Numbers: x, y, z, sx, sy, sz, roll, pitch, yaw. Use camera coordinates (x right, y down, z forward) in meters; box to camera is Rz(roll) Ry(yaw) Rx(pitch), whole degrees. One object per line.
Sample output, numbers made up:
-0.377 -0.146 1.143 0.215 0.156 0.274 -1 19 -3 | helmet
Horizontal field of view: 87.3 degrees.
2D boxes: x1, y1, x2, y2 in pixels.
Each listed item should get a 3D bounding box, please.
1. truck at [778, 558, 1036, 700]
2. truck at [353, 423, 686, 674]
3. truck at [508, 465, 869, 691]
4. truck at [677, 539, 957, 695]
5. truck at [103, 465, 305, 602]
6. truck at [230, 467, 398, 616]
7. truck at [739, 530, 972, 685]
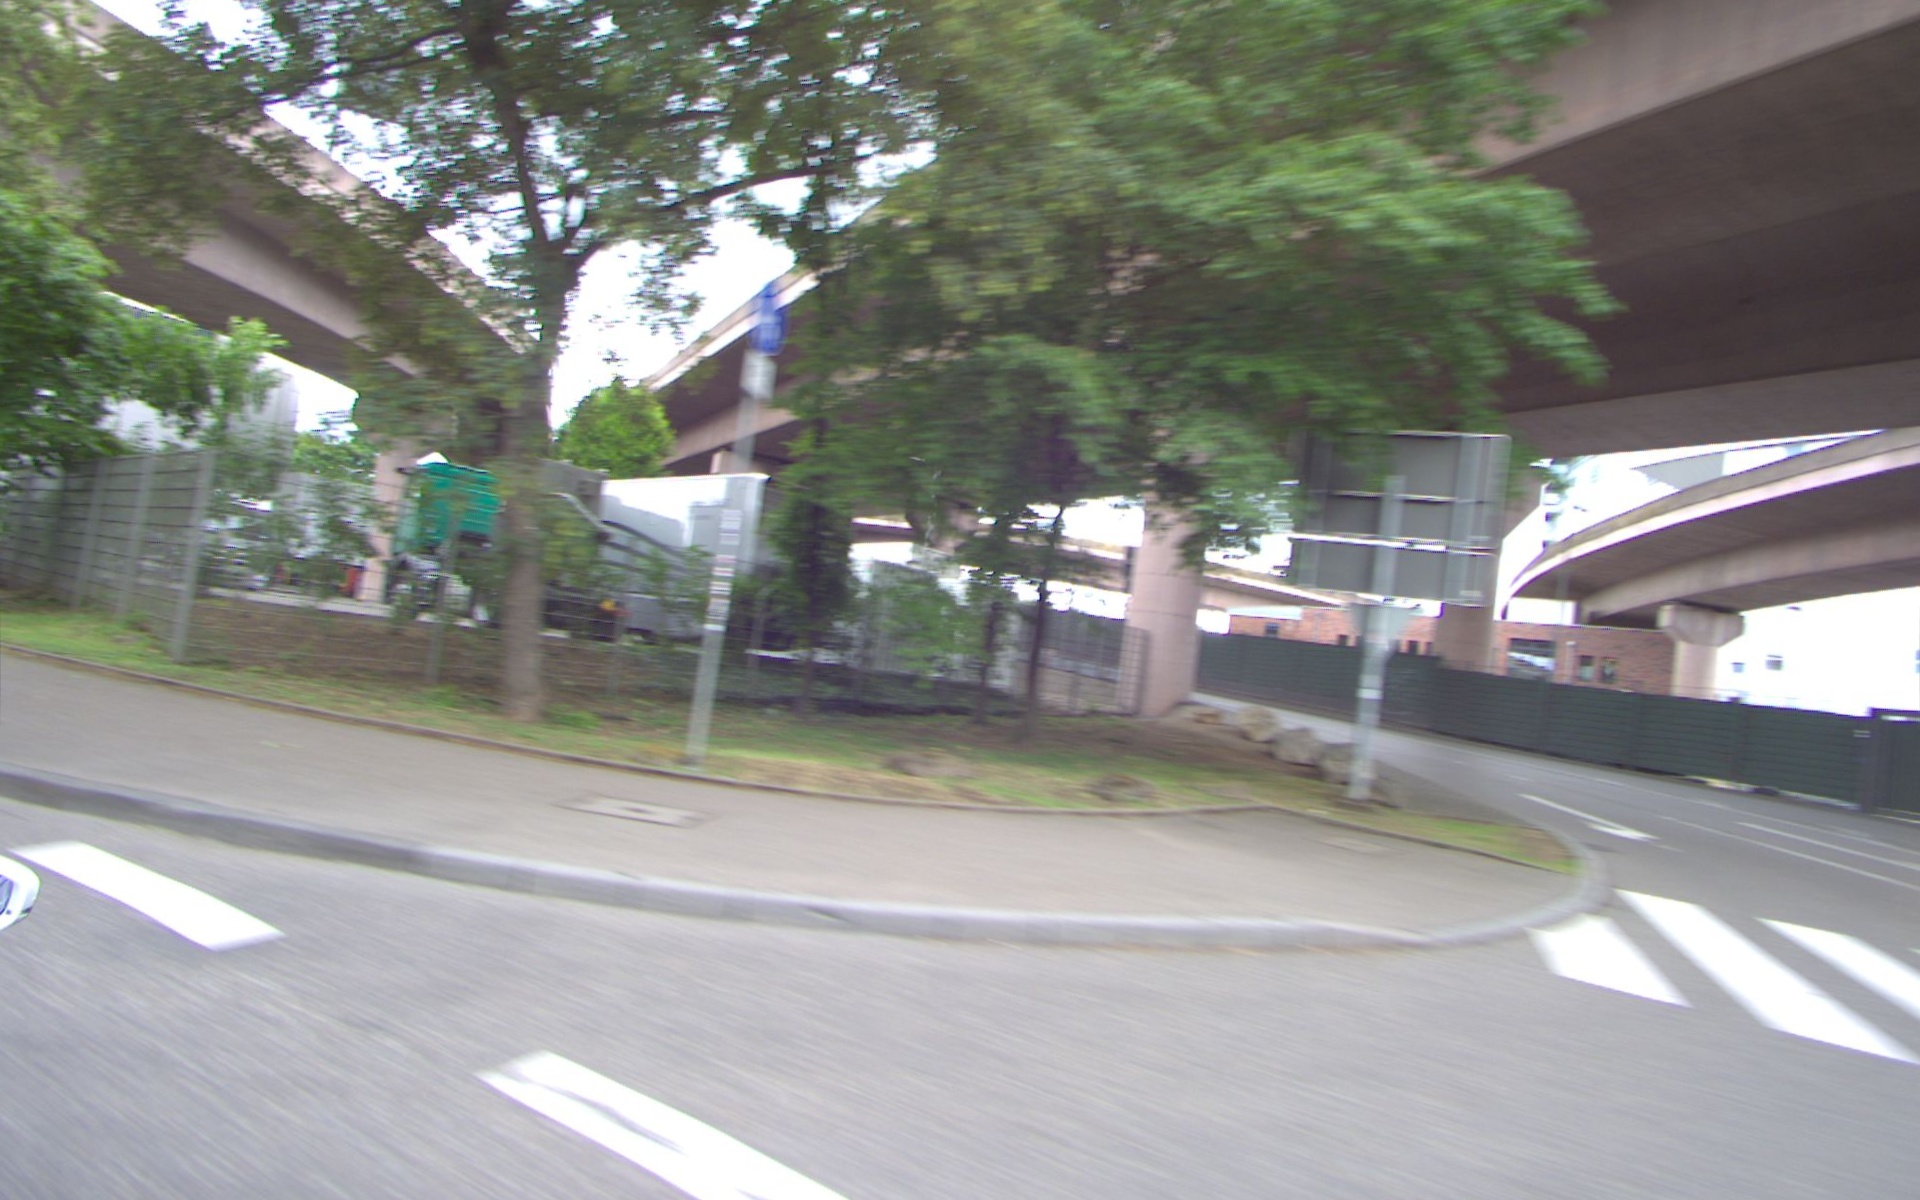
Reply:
-1.552 0.732 27.507 6.461 2.933 2.915 7 -1 39 | truck
-8.957 -1.067 20.061 6.825 4.010 3.064 7 -1 41 | truck
-6.105 -0.621 21.773 7.929 3.913 3.065 7 -1 39 | truck
-3.653 0.346 24.840 6.461 2.933 2.915 7 -1 39 | truck
-25.506 -2.314 33.790 7.794 3.661 3.058 7 -2 37 | truck
-24.867 -2.302 38.514 7.942 4.836 3.198 7 -1 44 | truck
-3.778 0.127 34.610 7.940 4.350 3.061 7 -1 43 | truck
